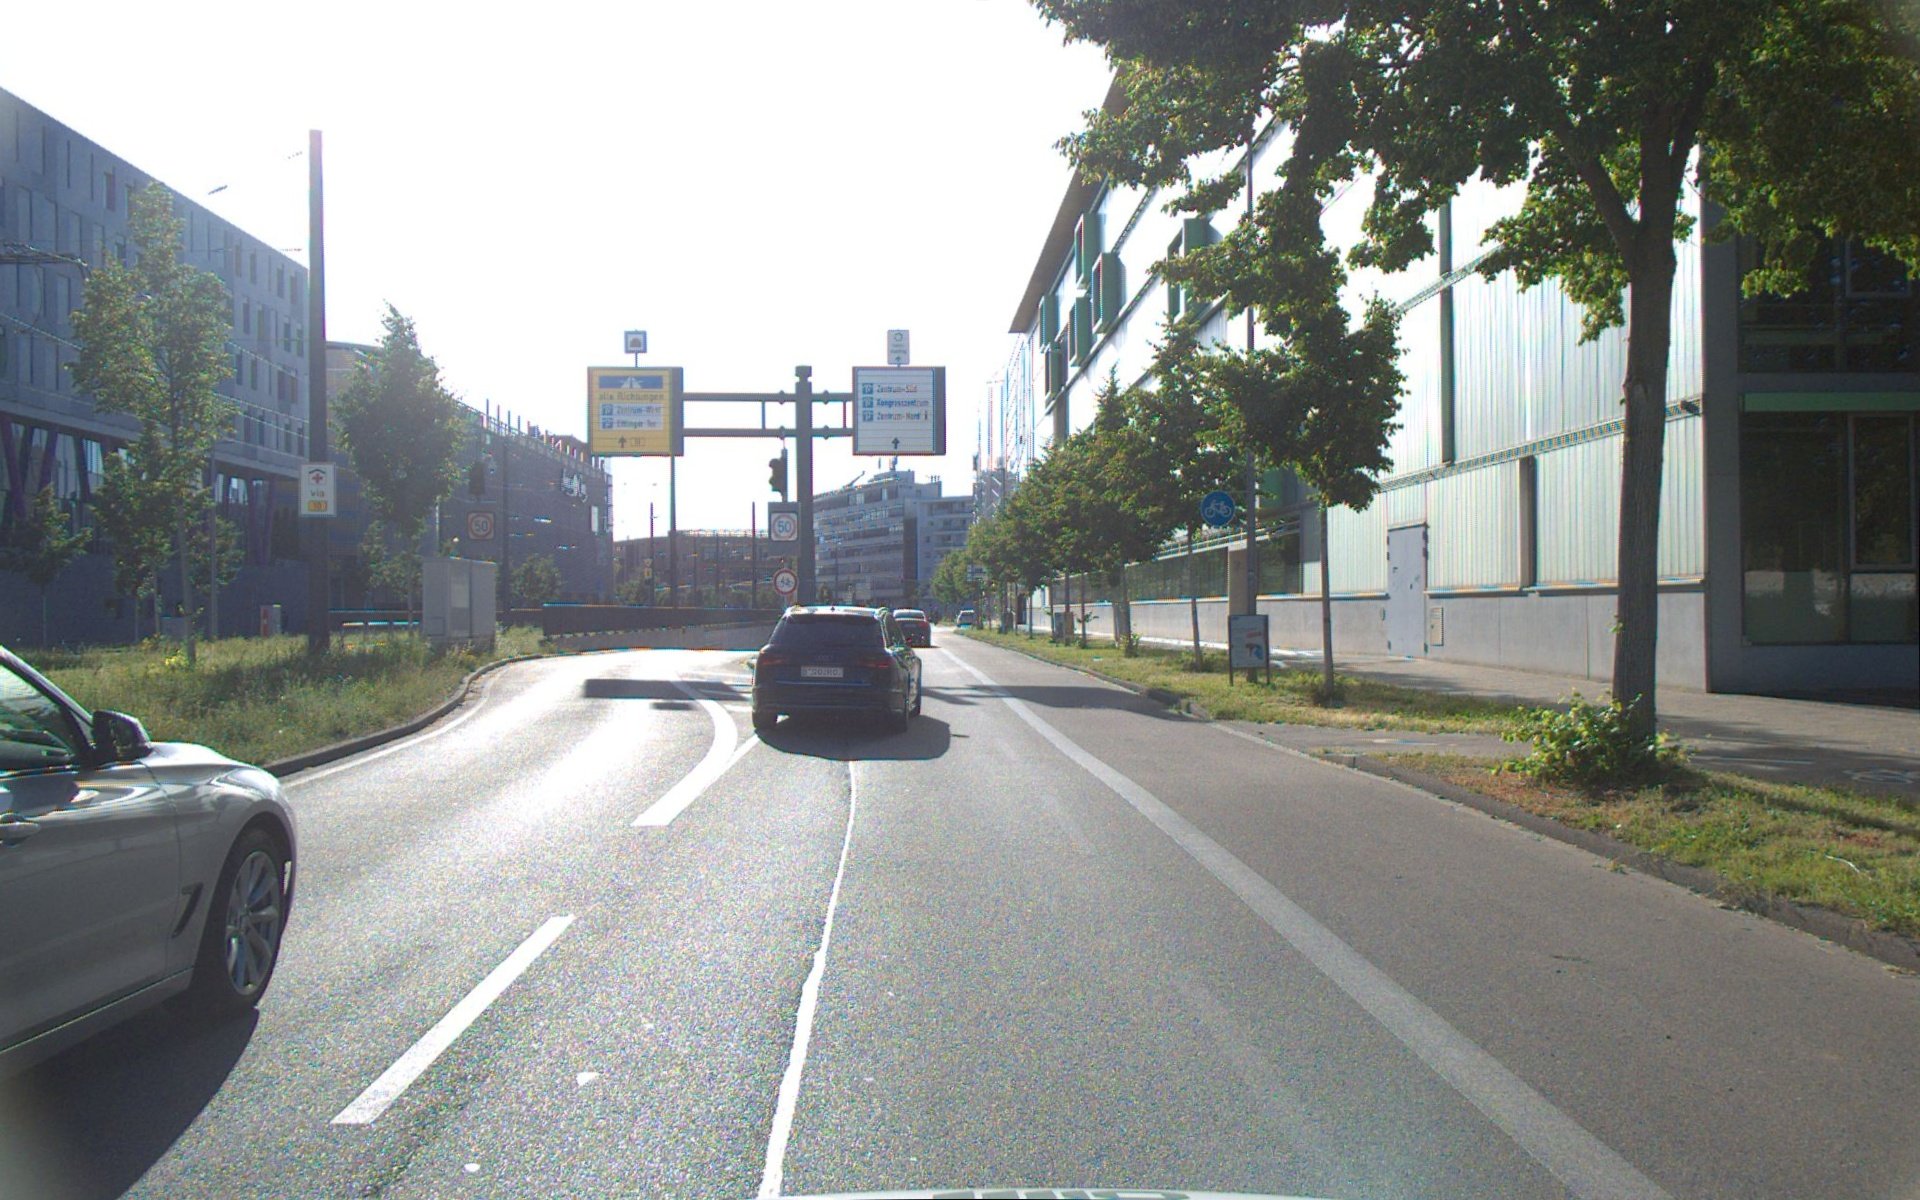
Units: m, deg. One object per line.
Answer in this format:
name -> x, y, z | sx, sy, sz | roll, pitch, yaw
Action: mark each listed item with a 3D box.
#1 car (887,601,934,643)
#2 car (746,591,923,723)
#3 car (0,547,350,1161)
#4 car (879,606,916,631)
car -> -1.989, 0.863, 66.453 | 1.815, 1.573, 3.998 | 1, 0, -2
car -> -1.446, 0.652, 20.702 | 1.775, 1.452, 4.690 | 0, 0, 1
car -> -3.293, 0.622, 4.159 | 1.762, 1.553, 4.909 | 1, -1, -1
car -> -3.923, 1.126, 103.911 | 1.956, 1.491, 3.994 | 1, 0, -7
